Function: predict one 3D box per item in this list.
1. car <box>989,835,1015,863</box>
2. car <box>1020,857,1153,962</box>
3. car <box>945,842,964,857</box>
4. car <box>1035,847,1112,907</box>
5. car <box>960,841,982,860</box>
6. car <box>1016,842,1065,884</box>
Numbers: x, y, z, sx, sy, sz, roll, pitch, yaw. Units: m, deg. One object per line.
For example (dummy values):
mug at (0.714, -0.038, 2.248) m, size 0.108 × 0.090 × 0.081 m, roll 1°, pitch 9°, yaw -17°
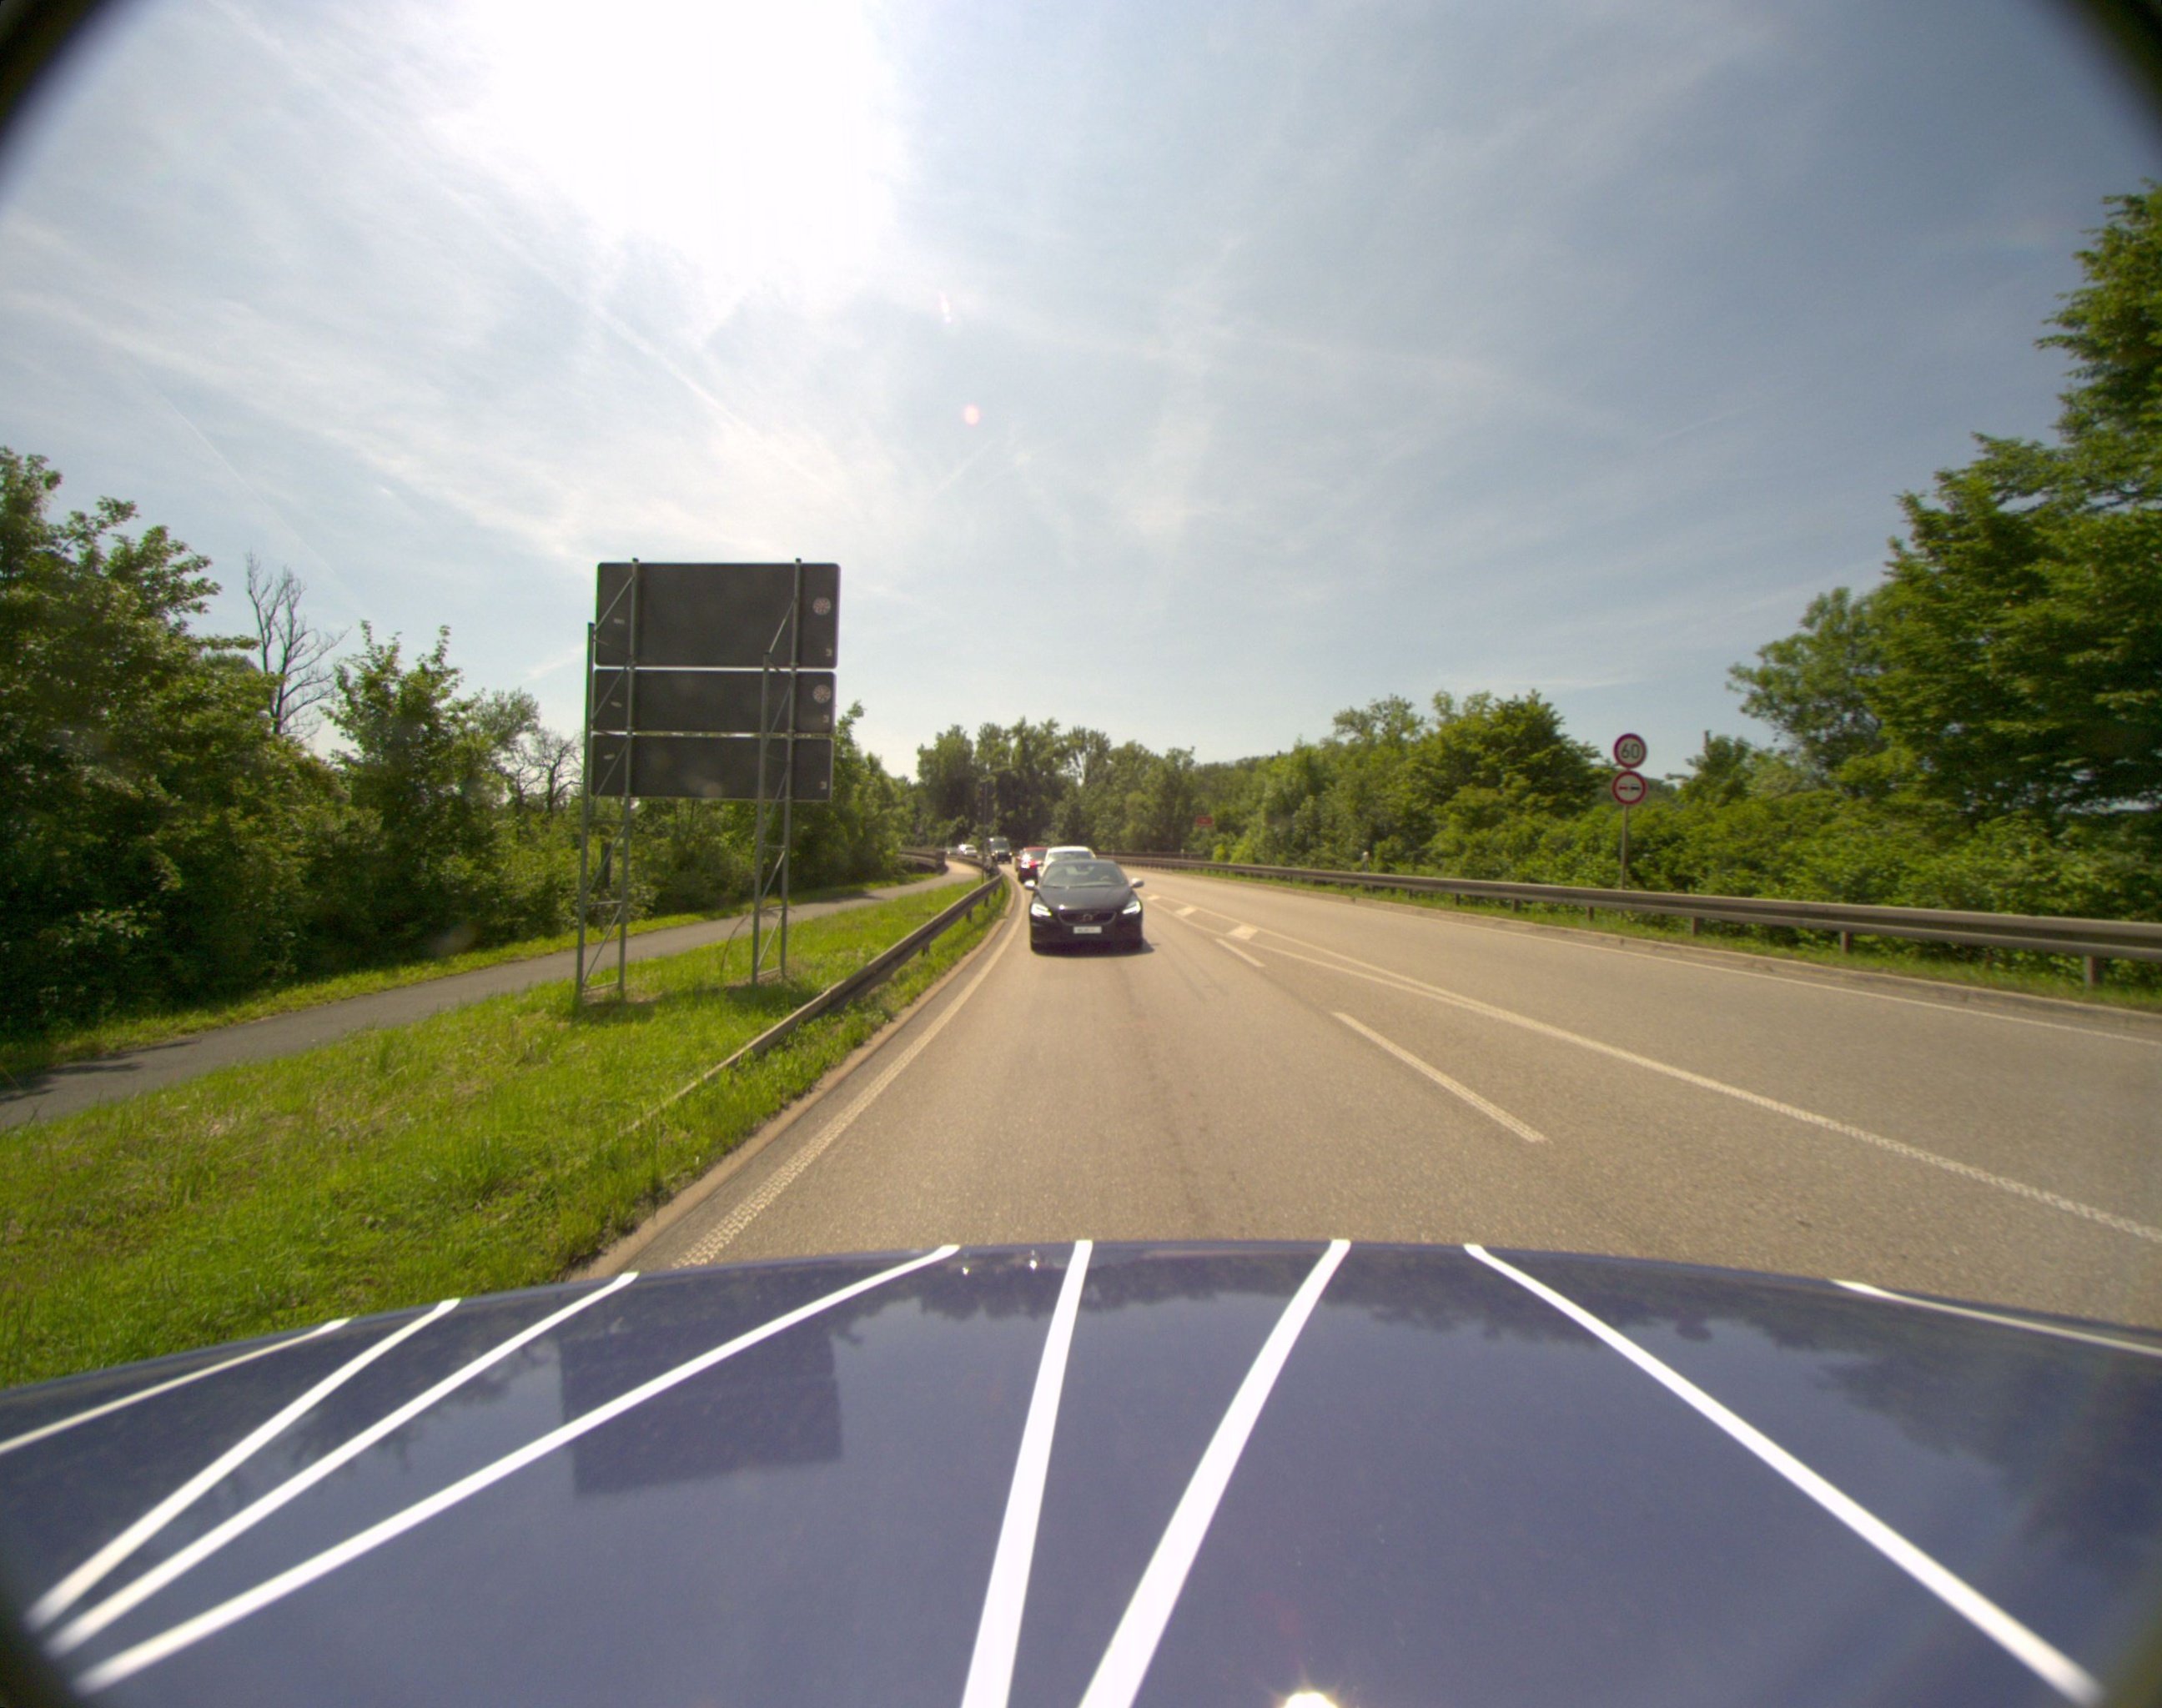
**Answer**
car at (-7.650, -0.528, 73.385) m, size 2.000 × 2.471 × 4.852 m, roll -2°, pitch 2°, yaw -12°
car at (-0.020, 0.824, 13.123) m, size 1.910 × 1.413 × 3.948 m, roll -2°, pitch 1°, yaw -3°
car at (-17.544, -0.646, 105.138) m, size 2.001 × 2.003 × 3.993 m, roll -3°, pitch 2°, yaw -16°
car at (-0.309, 0.616, 22.899) m, size 1.910 × 1.638 × 3.947 m, roll -1°, pitch 1°, yaw -7°
car at (-13.209, -0.453, 90.777) m, size 2.001 × 2.003 × 4.705 m, roll -2°, pitch 2°, yaw -15°
car at (-1.962, 0.373, 35.934) m, size 2.000 × 1.766 × 3.996 m, roll -2°, pitch 2°, yaw -7°
